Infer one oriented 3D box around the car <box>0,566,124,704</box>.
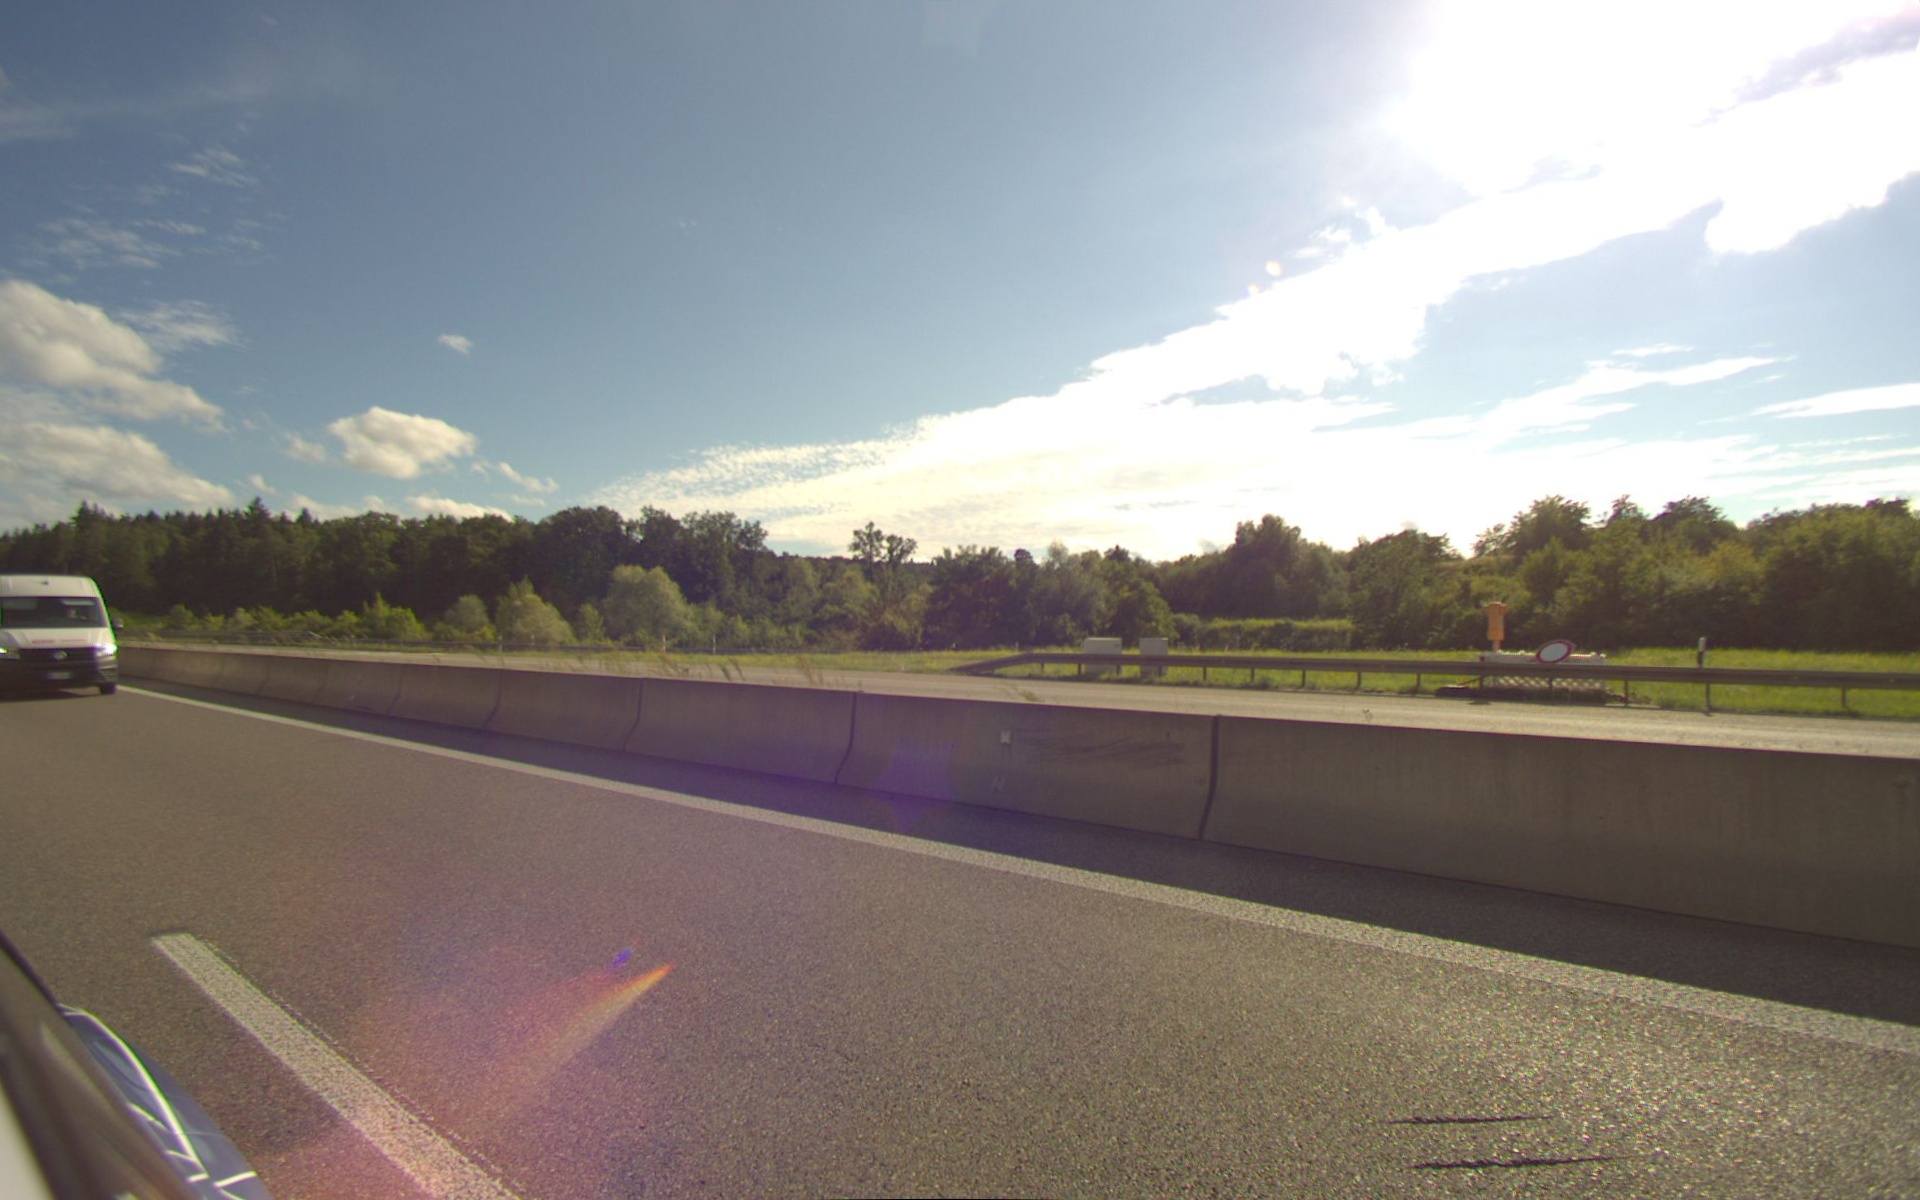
[{"bbox_3d":[-19.984,0.710,21.904,6.179,2.618,1.994,-1,-1,42],"label":"car"}]
